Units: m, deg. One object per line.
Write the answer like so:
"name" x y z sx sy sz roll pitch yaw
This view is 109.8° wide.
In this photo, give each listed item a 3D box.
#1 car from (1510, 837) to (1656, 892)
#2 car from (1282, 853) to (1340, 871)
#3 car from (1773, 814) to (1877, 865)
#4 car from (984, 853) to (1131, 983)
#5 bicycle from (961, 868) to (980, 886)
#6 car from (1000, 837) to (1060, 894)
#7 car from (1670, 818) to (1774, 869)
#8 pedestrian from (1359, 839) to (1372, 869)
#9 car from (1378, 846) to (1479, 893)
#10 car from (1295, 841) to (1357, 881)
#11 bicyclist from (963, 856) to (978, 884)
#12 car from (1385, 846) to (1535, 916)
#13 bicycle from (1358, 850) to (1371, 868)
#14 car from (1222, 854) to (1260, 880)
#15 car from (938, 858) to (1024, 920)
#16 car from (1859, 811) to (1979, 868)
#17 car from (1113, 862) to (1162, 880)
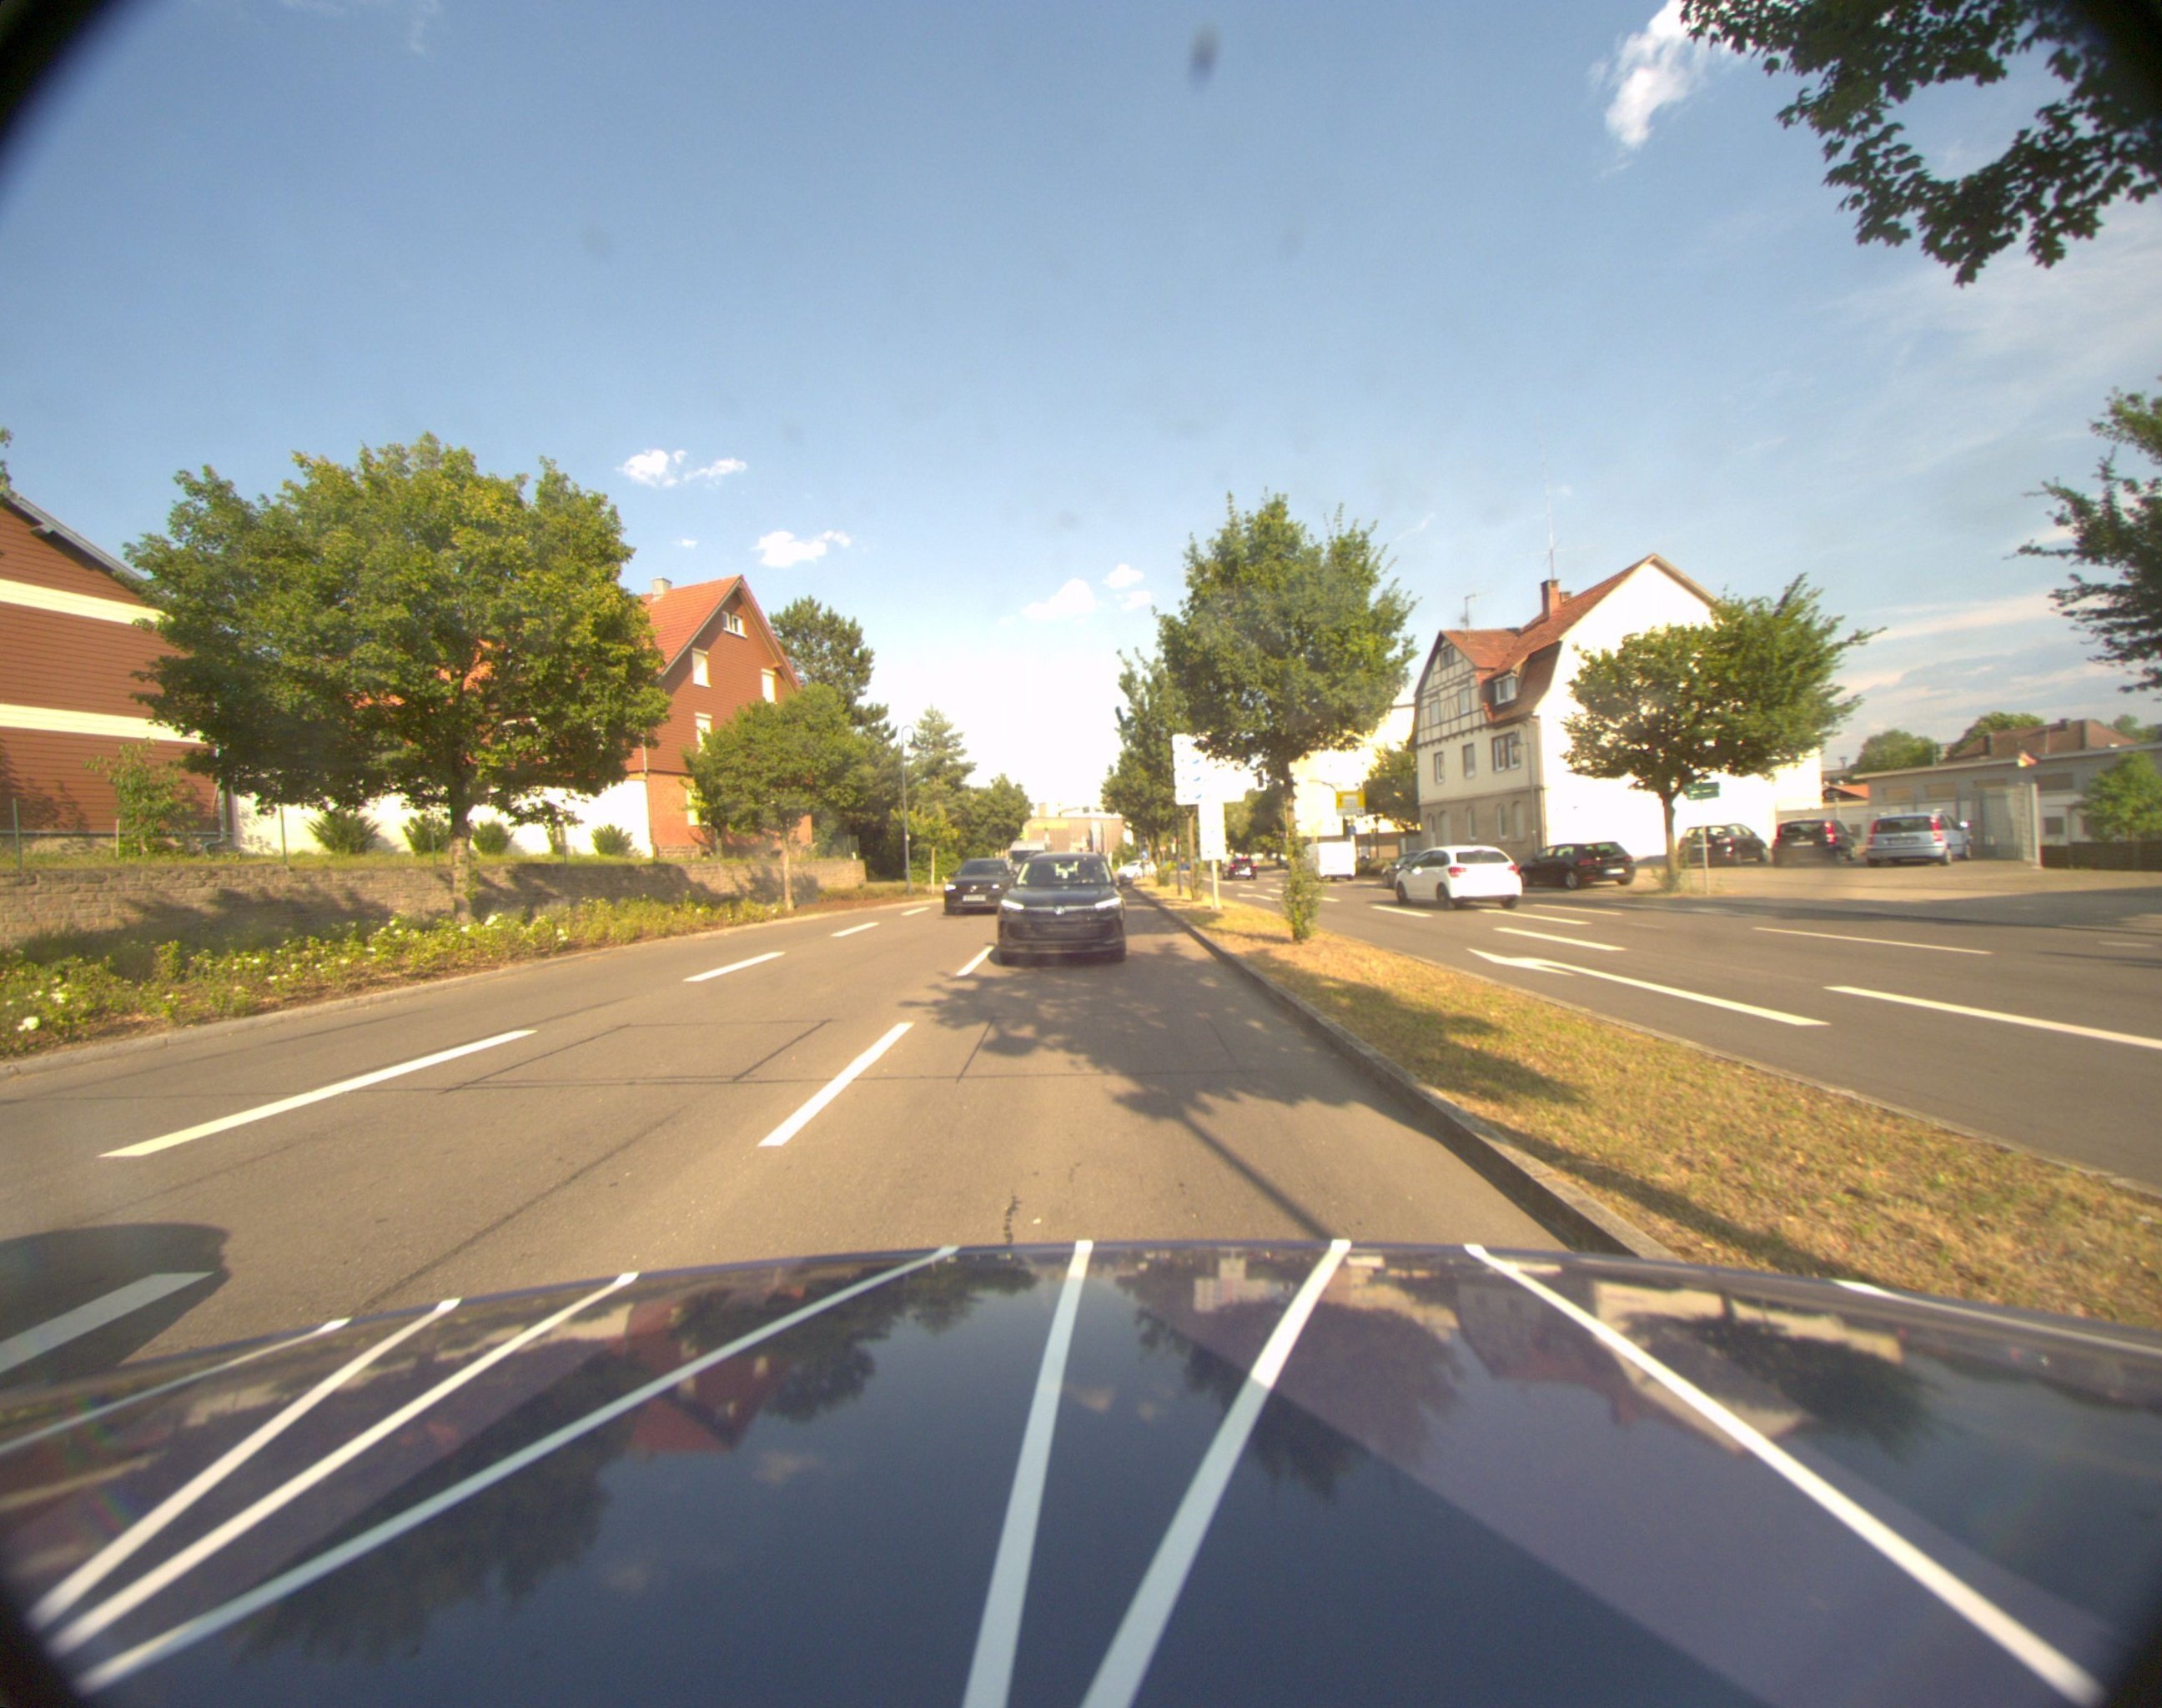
"car" 15.896 0.305 24.360 1.839 1.435 4.195 -5 0 1
"car" 20.146 0.680 66.666 4.660 1.346 1.768 -2 0 9
"car" 24.807 -0.485 25.307 4.007 1.543 1.763 -3 1 -35
"car" -0.261 0.847 12.433 1.894 1.647 4.730 -2 0 1
"bicycle" -6.838 1.402 47.062 0.522 1.012 1.877 -2 0 13
"car" -2.427 0.500 38.118 2.370 2.532 6.192 -2 0 1
"car" 23.219 -0.399 27.496 4.006 1.543 1.764 -4 1 -33
"pedestrian" 18.982 -0.015 50.678 0.698 1.971 0.589 -2 1 15
"car" 12.590 0.514 27.834 1.811 1.488 4.245 -2 0 1
"car" 12.807 0.312 40.044 1.827 1.912 4.945 -2 0 3
"bicyclist" -6.840 0.988 47.061 0.603 1.668 0.735 -2 1 14
"car" 9.277 0.590 18.983 1.805 1.488 3.955 -2 0 1
"bicycle" 19.274 0.338 51.701 0.680 1.215 1.515 -2 1 15
"car" 10.130 0.789 48.296 1.773 1.442 4.109 -2 0 4
"car" -2.874 0.962 22.792 1.886 1.599 4.128 -2 0 1
"car" 24.898 -0.440 22.547 4.006 1.543 1.763 -3 1 -33
"car" 4.767 1.417 63.721 1.762 1.346 4.139 -2 1 44
